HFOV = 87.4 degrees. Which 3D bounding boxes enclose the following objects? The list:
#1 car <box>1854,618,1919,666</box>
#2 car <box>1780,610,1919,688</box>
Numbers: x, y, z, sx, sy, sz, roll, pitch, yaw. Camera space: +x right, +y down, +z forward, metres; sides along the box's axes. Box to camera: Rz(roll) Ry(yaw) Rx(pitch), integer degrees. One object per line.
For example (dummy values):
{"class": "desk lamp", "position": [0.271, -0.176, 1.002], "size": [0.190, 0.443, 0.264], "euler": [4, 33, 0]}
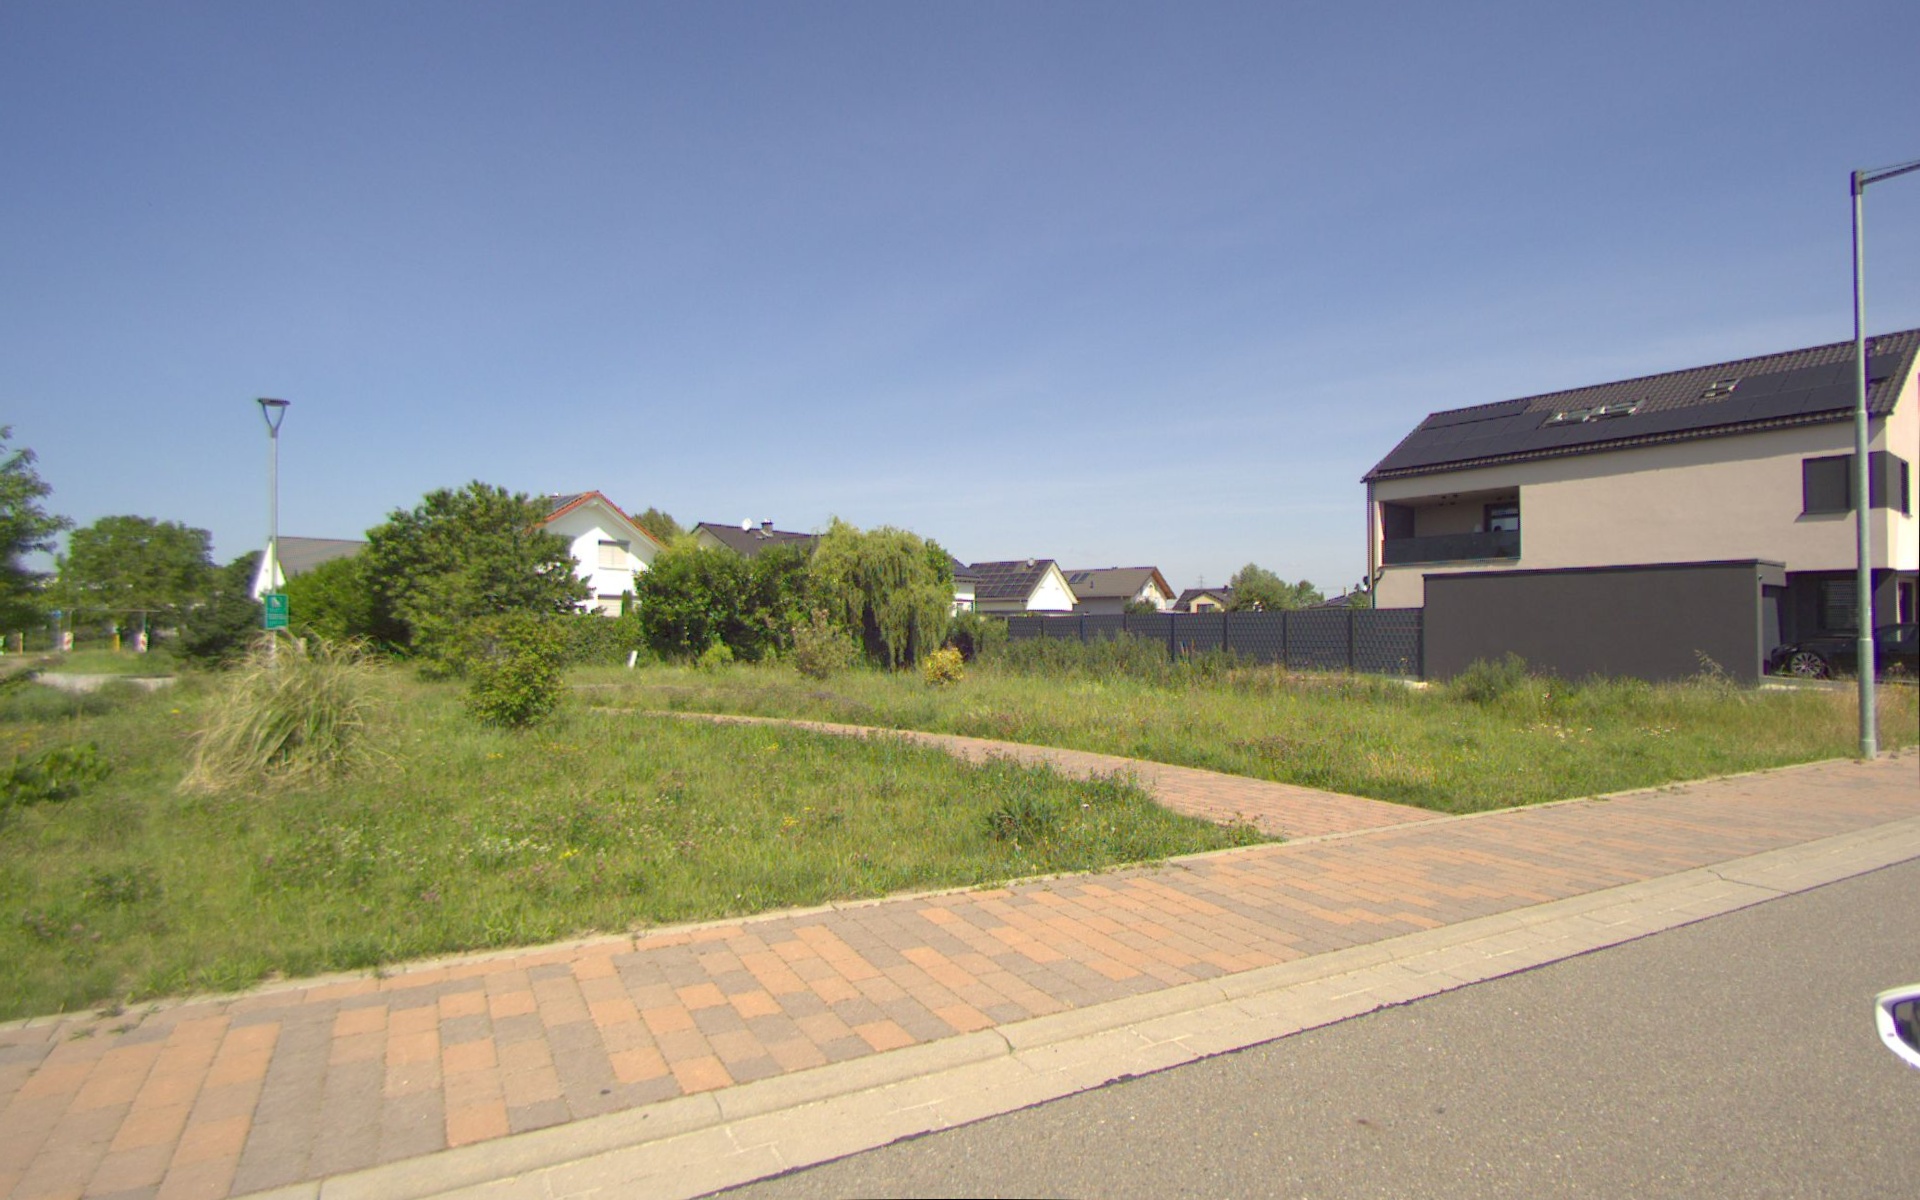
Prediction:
{"class": "car", "position": [31.287, 1.326, 31.975], "size": [1.737, 1.506, 3.961], "euler": [1, -1, -35]}
{"class": "car", "position": [21.807, 1.126, 23.023], "size": [1.754, 1.653, 4.344], "euler": [1, 1, -37]}
